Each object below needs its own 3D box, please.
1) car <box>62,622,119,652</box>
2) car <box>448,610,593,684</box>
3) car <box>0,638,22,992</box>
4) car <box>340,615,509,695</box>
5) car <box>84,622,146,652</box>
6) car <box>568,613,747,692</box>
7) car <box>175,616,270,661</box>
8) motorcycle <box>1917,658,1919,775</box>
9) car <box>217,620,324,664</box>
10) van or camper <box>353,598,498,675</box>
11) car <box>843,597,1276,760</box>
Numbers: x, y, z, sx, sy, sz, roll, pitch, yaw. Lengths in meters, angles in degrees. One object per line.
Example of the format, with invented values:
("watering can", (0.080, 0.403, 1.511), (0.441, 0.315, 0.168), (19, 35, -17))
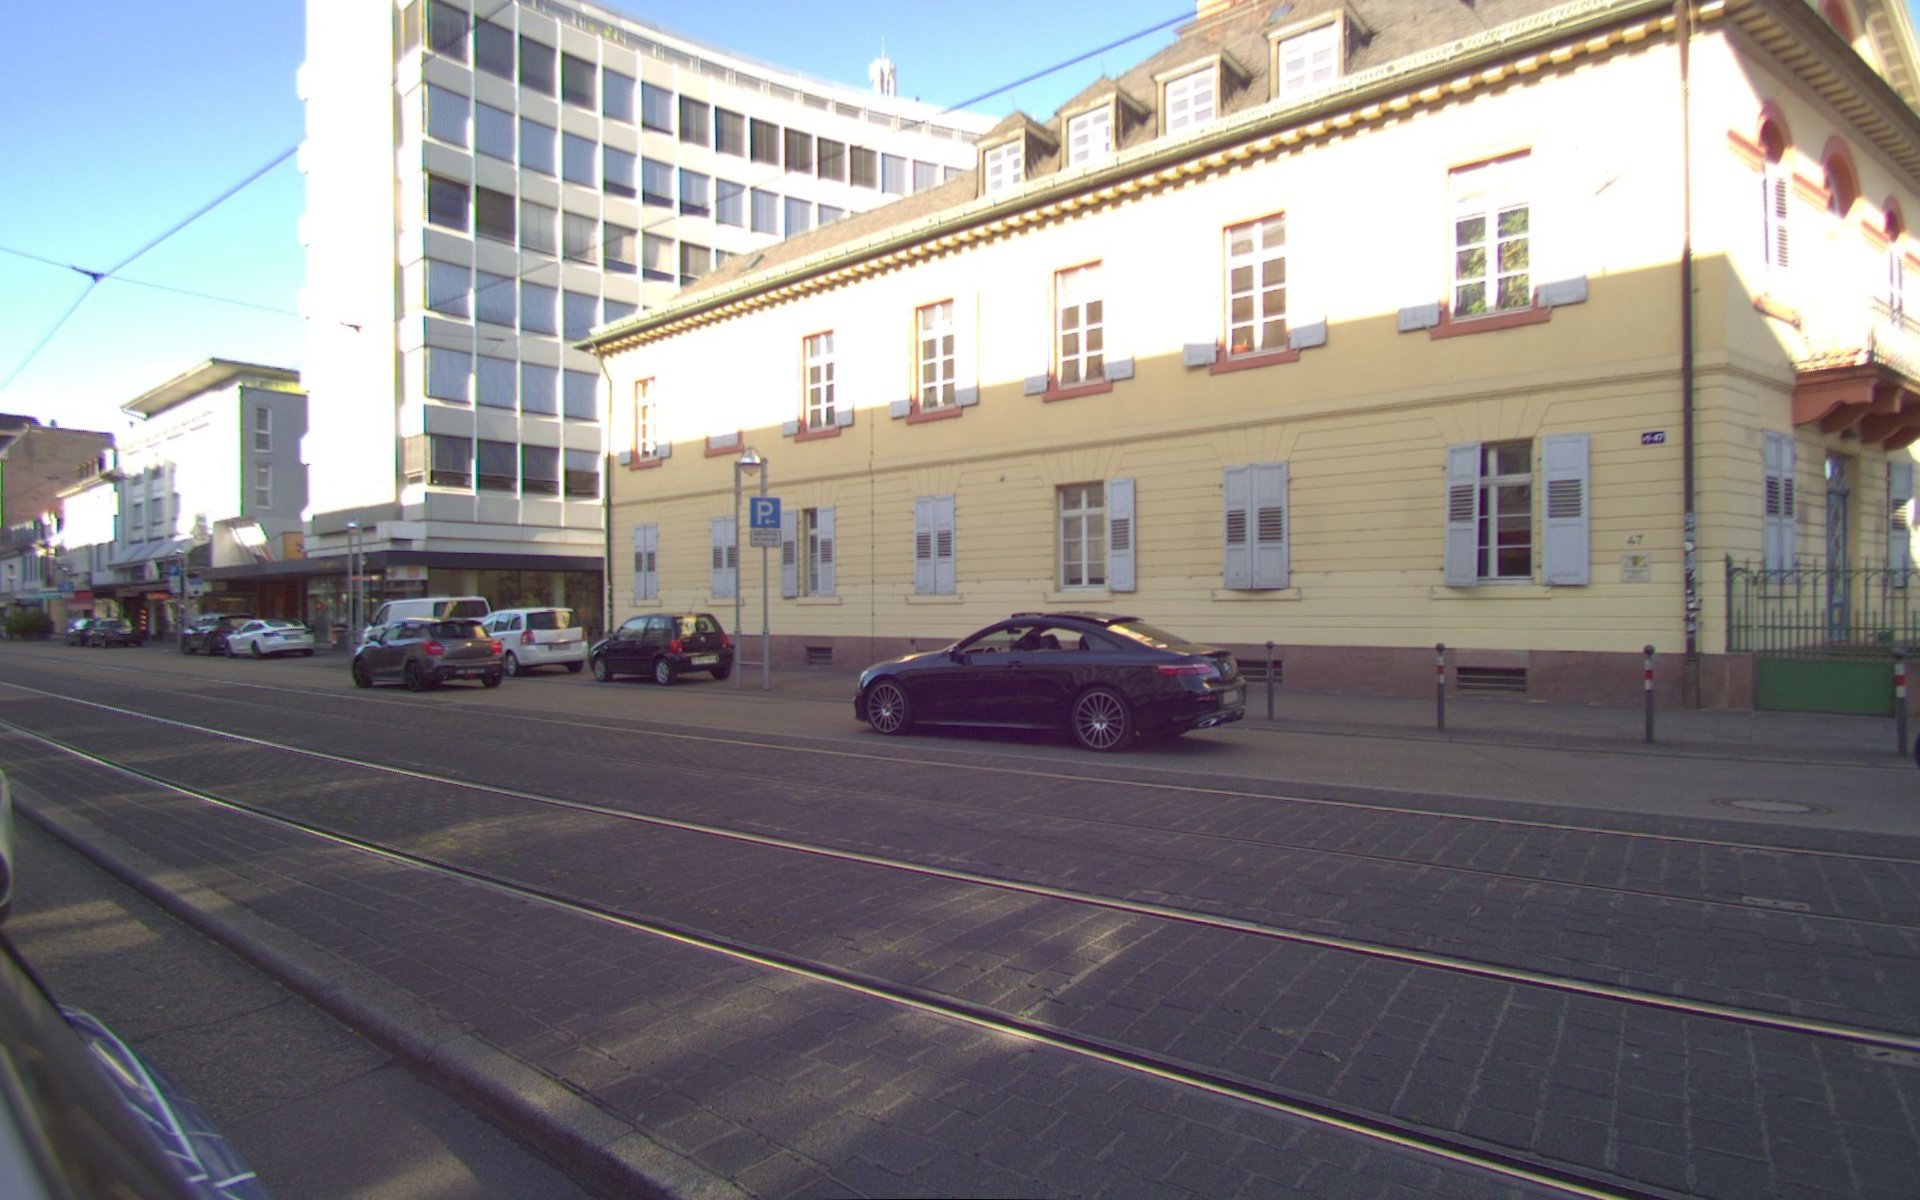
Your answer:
("car", (-47.968, 2.006, 55.837), (3.830, 1.531, 1.764), (-1, 0, 40))
("car", (-11.074, 1.109, 25.380), (4.175, 1.632, 1.758), (-1, 1, 42))
("car", (-6.338, 0.897, 5.050), (4.771, 1.450, 1.845), (-1, -2, 40))
("car", (-11.254, 1.111, 21.186), (3.856, 1.521, 1.759), (-1, -2, 39))
("car", (-43.644, 1.883, 52.240), (3.593, 1.427, 1.764), (-1, 0, 38))
("car", (-6.496, 1.043, 21.548), (3.958, 1.450, 1.759), (-1, 1, 40))
("car", (-29.787, 1.516, 40.847), (4.275, 1.654, 1.908), (-1, 1, 37))
("motorcycle", (8.394, 0.915, 7.242), (2.148, 0.933, 0.595), (-1, 0, 31))
("car", (-25.572, 1.520, 37.480), (4.285, 1.463, 1.909), (-1, 1, 36))
("van or camper", (-15.414, 0.988, 29.080), (4.792, 1.988, 1.936), (-1, 1, 39))
("car", (1.000, 0.795, 11.524), (4.659, 1.521, 1.761), (-1, -2, 35))
